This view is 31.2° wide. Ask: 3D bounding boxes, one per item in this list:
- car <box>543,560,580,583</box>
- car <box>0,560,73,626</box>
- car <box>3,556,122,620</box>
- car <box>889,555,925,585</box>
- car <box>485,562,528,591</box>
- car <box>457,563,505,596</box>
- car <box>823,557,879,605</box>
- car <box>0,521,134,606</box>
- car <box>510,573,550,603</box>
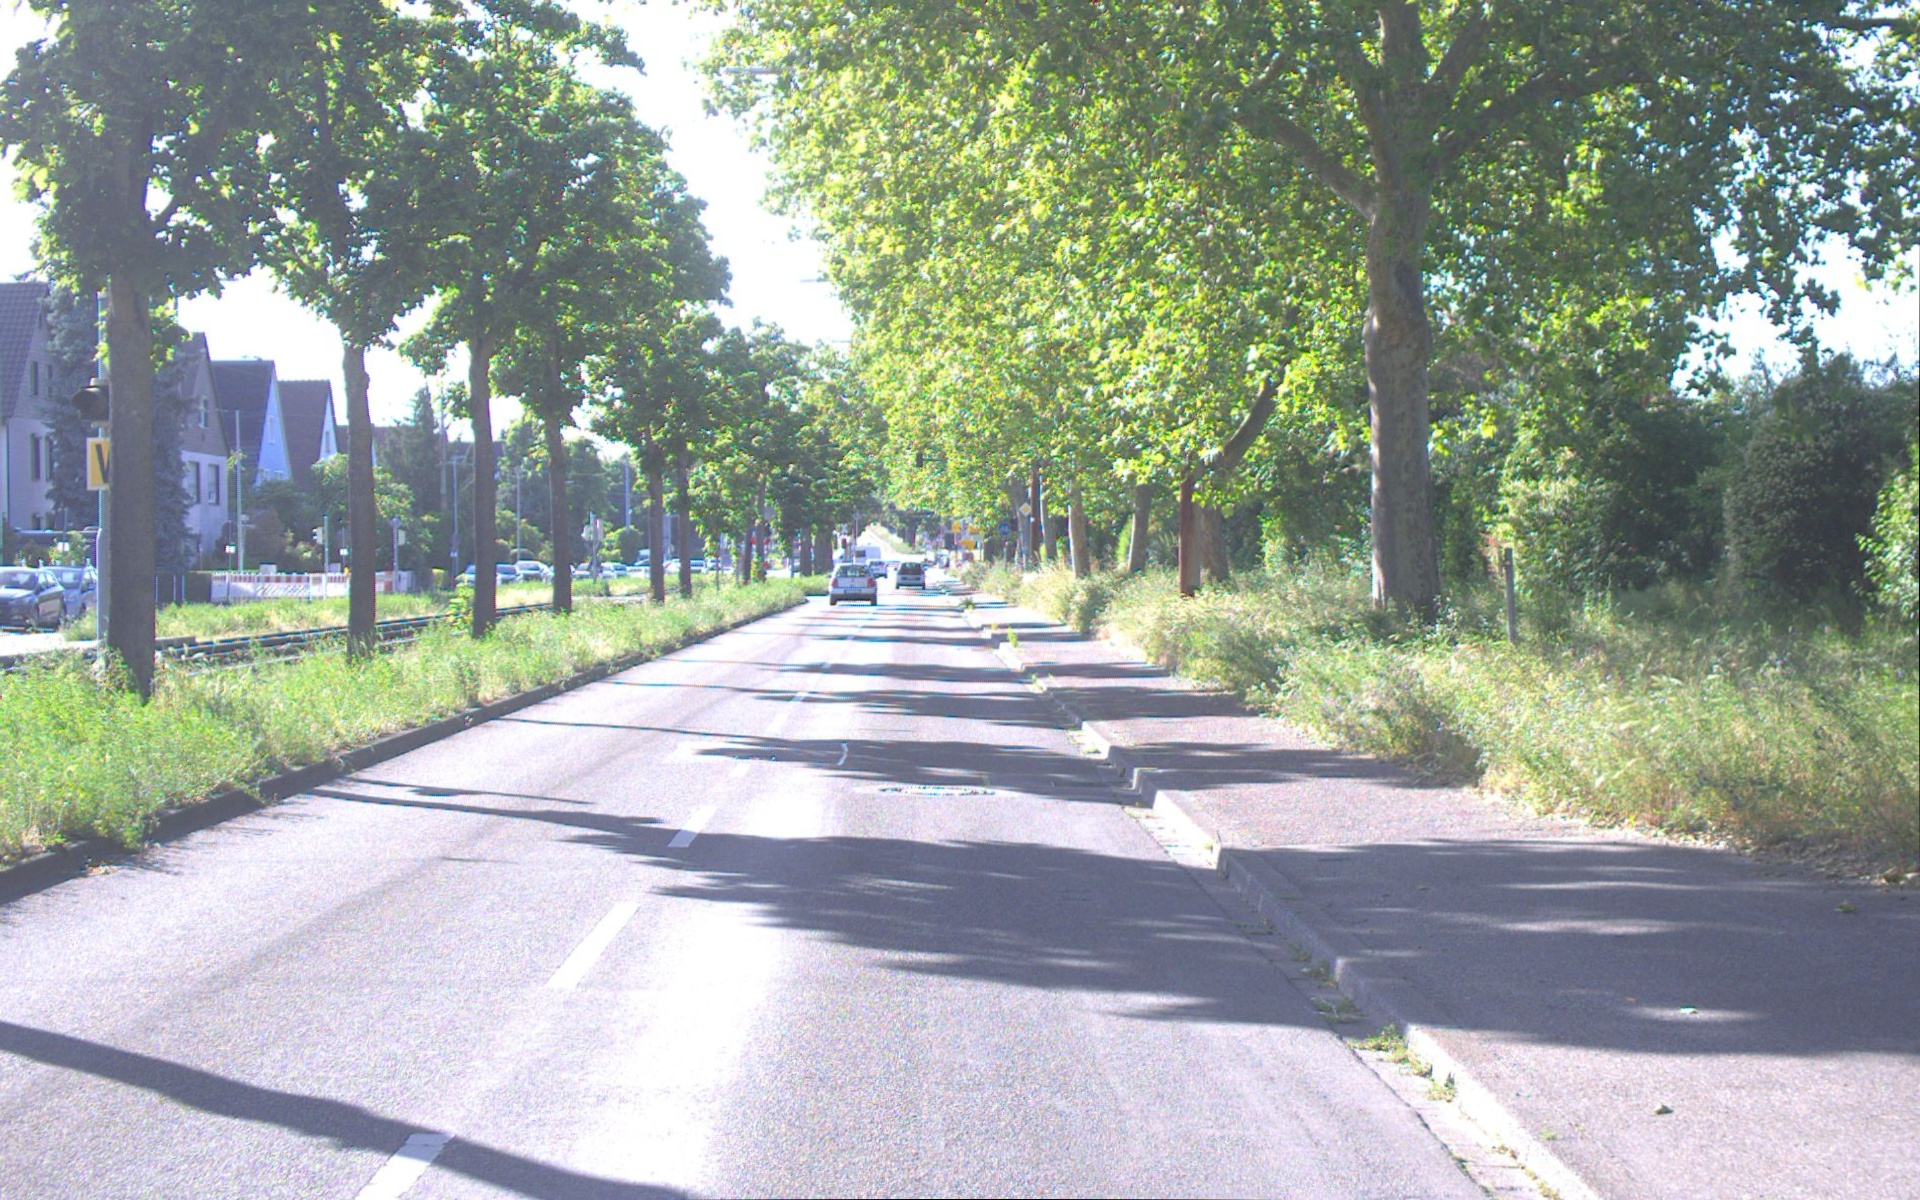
[{"bbox_3d":[-24.291,-1.710,209.596,1.860,1.365,4.228,1,0,-1],"label":"car"},{"bbox_3d":[-22.511,-0.184,81.298,1.993,1.445,4.128,3,0,-1],"label":"car"},{"bbox_3d":[-22.441,-0.303,86.078,1.946,1.548,4.057,1,0,-1],"label":"car"},{"bbox_3d":[-2.942,-1.652,190.354,1.993,1.598,4.473,1,0,-1],"label":"car"},{"bbox_3d":[-23.589,-1.235,178.906,1.729,1.461,4.603,1,0,-1],"label":"car"},{"bbox_3d":[-23.648,-1.013,169.861,1.860,1.537,4.228,1,0,-1],"label":"car"},{"bbox_3d":[-3.723,-0.650,117.849,1.860,1.595,4.228,1,0,-1],"label":"car"},{"bbox_3d":[-28.514,-1.149,107.109,5.028,2.616,2.102,0,1,0],"label":"car"},{"bbox_3d":[-23.739,-0.662,189.898,1.748,1.645,4.555,1,0,-1],"label":"car"}]
